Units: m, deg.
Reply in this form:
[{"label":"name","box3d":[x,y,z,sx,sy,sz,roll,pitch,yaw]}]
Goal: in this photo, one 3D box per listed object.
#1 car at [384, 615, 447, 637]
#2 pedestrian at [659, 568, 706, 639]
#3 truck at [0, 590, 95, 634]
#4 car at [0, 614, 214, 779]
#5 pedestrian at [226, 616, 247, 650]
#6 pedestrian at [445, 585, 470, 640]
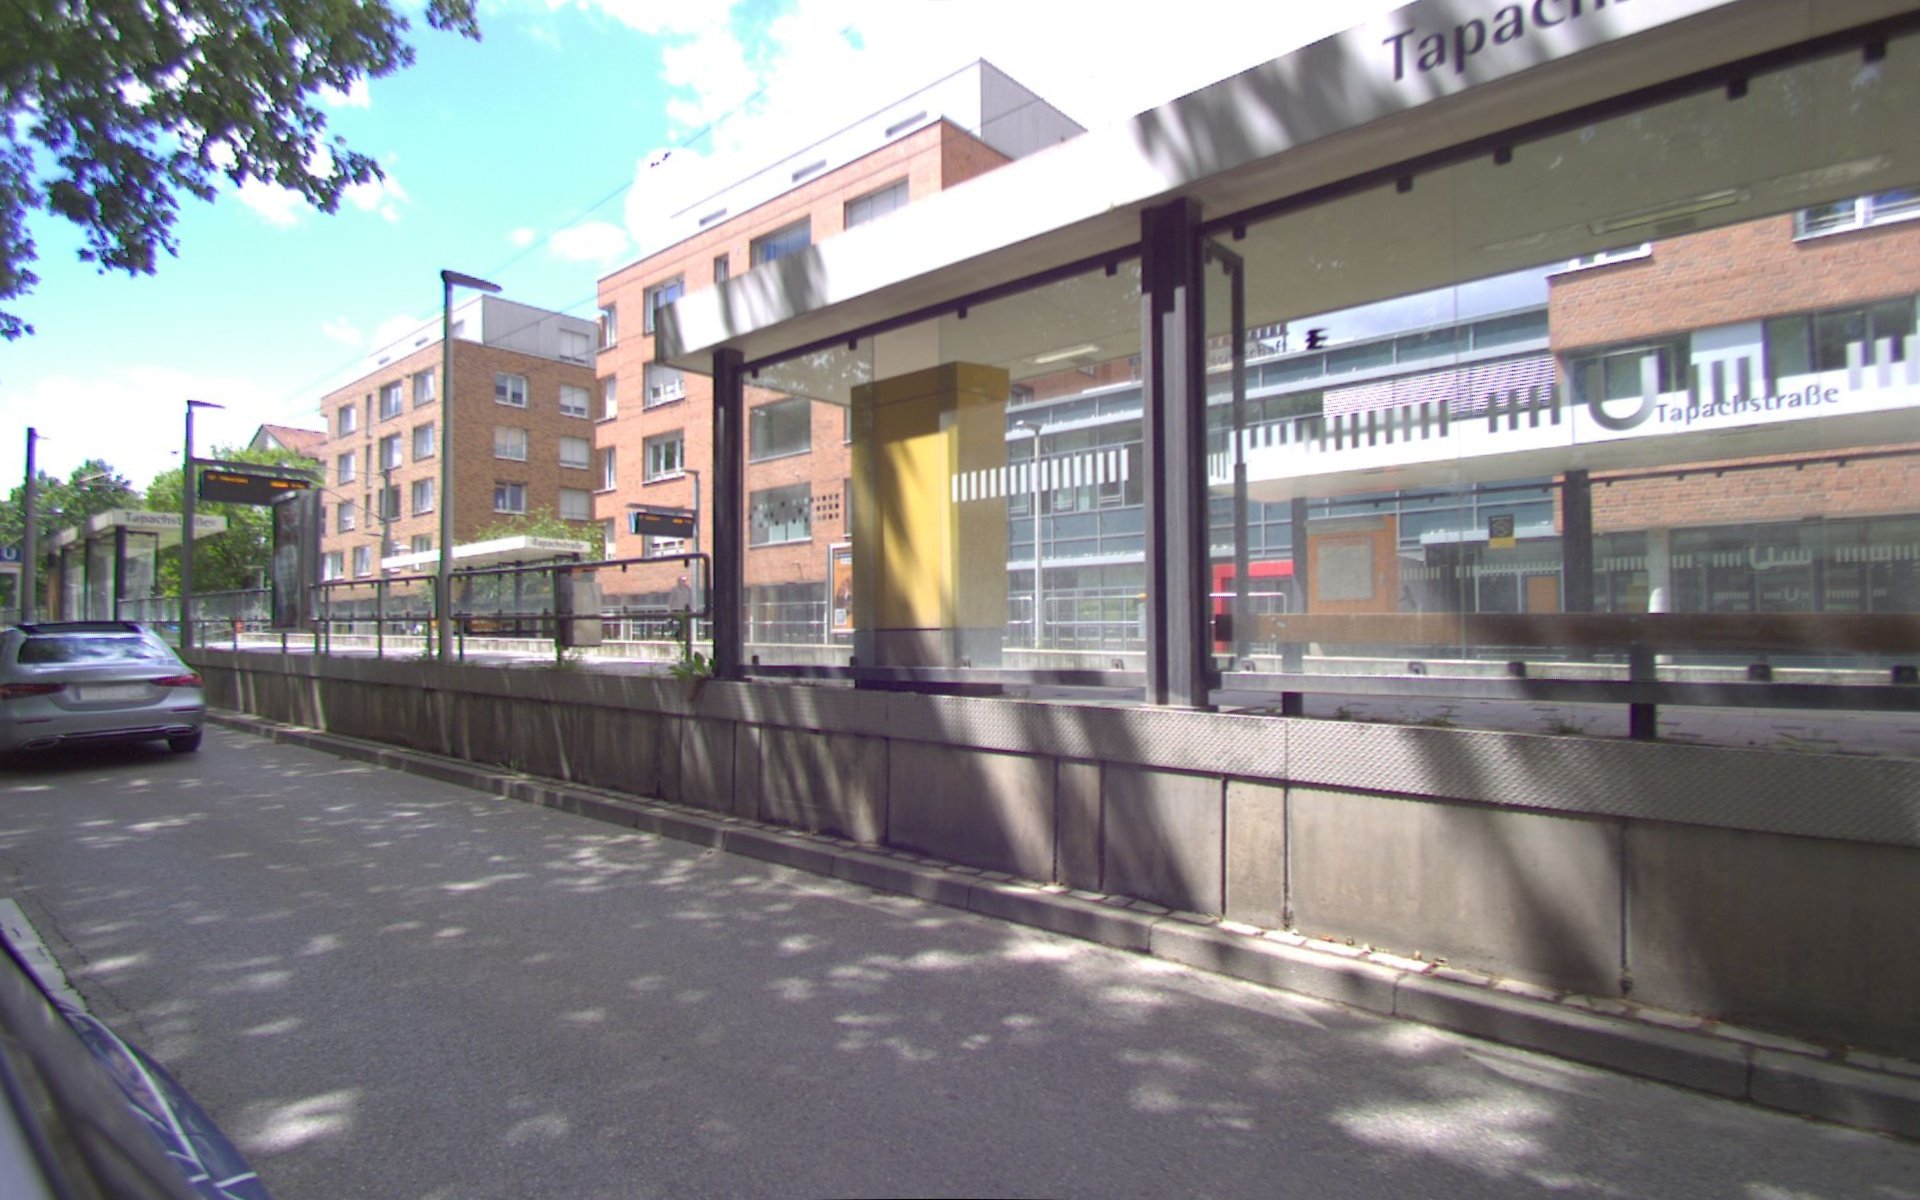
[{"label":"car","box3d":[-37.476,1.816,69.689,1.592,1.410,3.497,-2,-3,38]},{"label":"pedestrian","box3d":[-6.560,0.087,23.927,0.815,1.641,0.743,-2,-1,41]},{"label":"truck","box3d":[-92.756,1.329,102.128,2.594,4.124,9.607,0,-2,0]},{"label":"car","box3d":[-10.147,0.945,11.466,4.573,1.492,1.744,-1,0,41]},{"label":"pedestrian","box3d":[-39.581,1.800,55.356,0.828,1.839,0.736,-2,-3,40]},{"label":"pedestrian","box3d":[-16.317,0.415,32.884,0.527,1.777,0.529,-1,-2,38]}]
